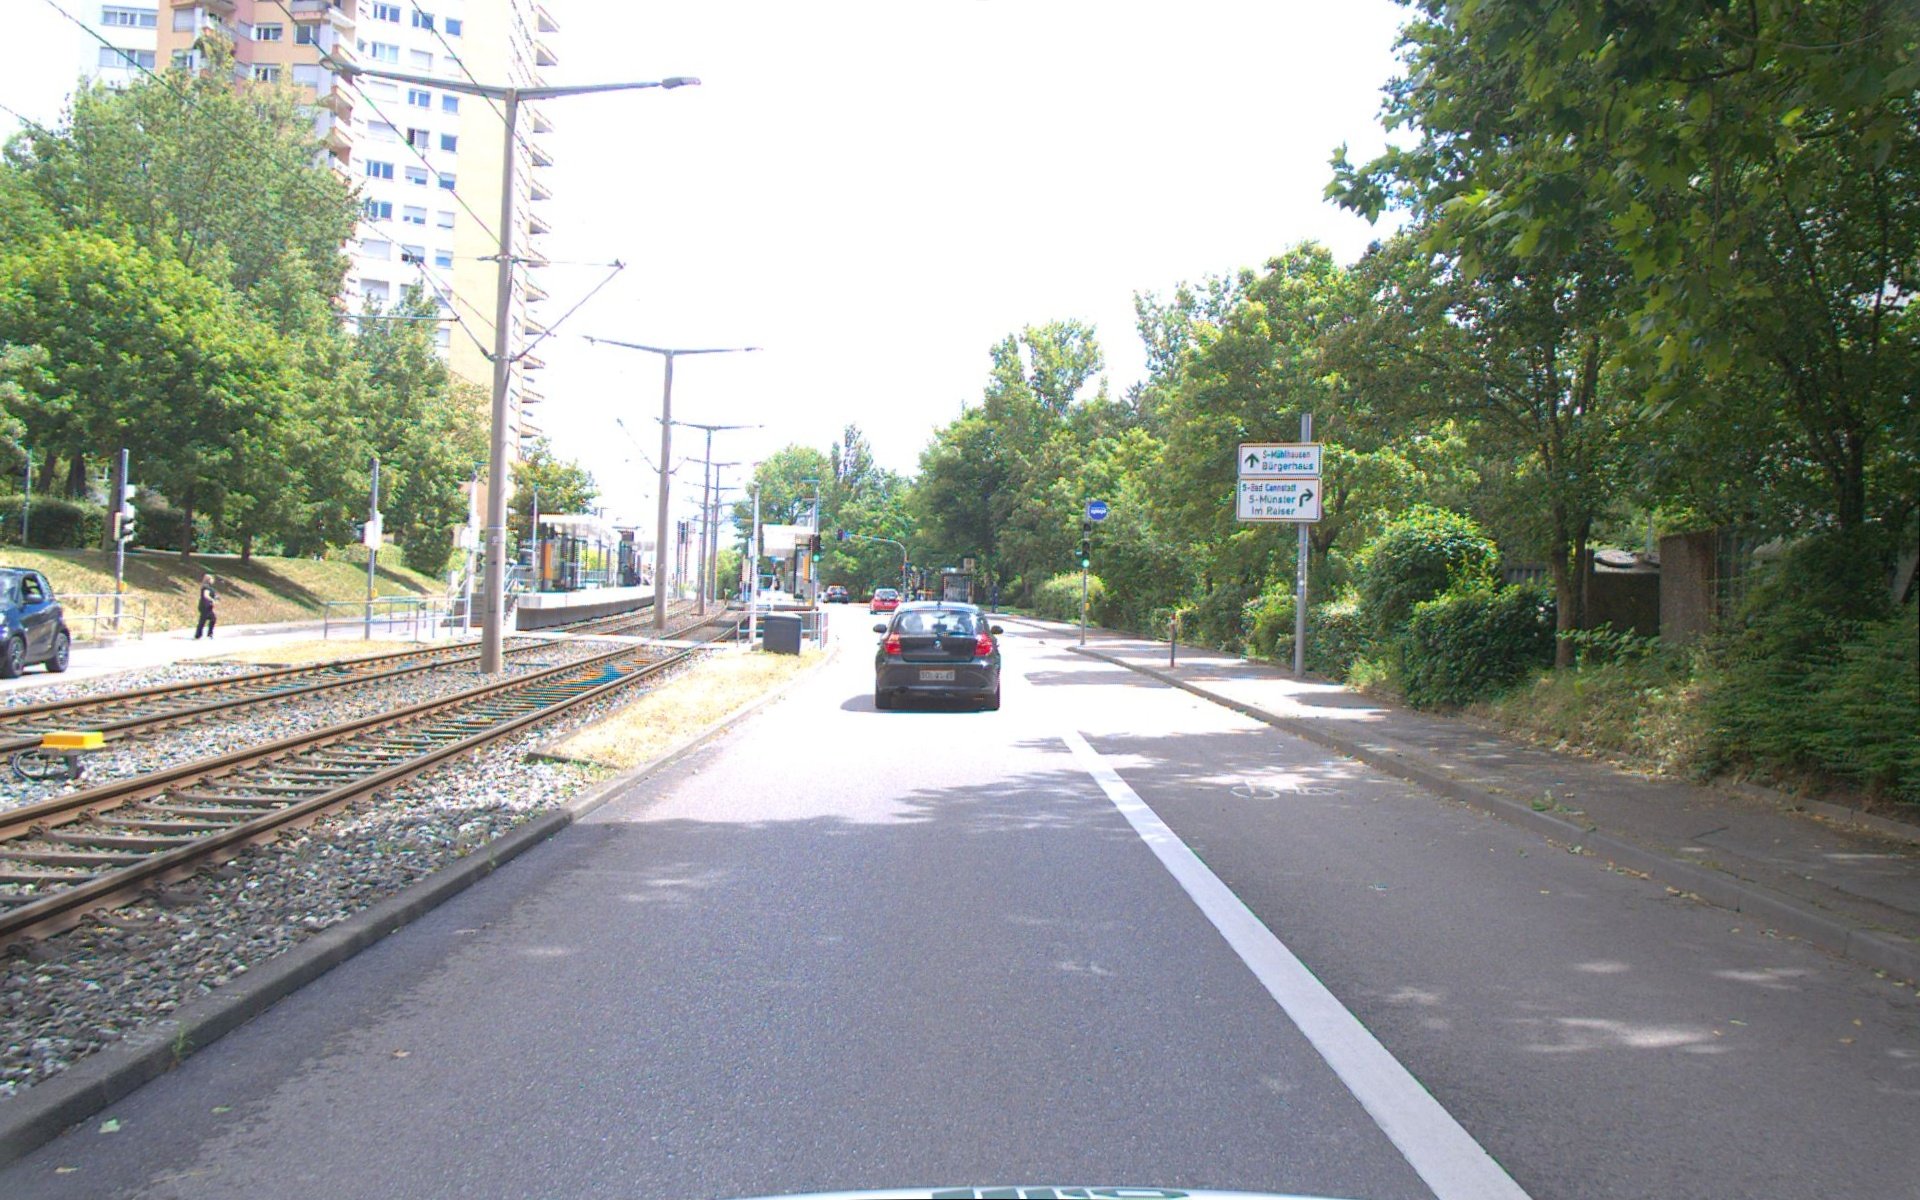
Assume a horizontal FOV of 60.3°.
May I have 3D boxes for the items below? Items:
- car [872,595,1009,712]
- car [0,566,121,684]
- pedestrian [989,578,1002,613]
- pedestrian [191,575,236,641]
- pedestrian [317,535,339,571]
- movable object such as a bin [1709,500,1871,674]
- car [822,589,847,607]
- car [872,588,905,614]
[{"bbox_3d":[-0.354,0.682,23.252,1.746,1.485,3.918,0,0,-3],"label":"car"},{"bbox_3d":[-13.859,0.316,24.060,1.682,1.591,3.693,1,0,-5],"label":"car"},{"bbox_3d":[2.085,-0.256,98.108,0.725,2.049,0.681,1,0,-1],"label":"pedestrian"},{"bbox_3d":[-17.844,0.194,39.514,0.705,1.561,0.765,1,0,44],"label":"pedestrian"},{"bbox_3d":[-27.721,-2.048,72.507,0.620,1.561,0.635,1,0,16],"label":"pedestrian"},{"bbox_3d":[7.545,-0.119,15.096,0.781,1.504,1.302,1,0,-1],"label":"movable object such as a bin"},{"bbox_3d":[-10.489,-0.198,138.045,1.873,1.485,3.996,1,0,-7],"label":"car"},{"bbox_3d":[-4.176,0.040,96.462,1.746,1.485,3.917,1,0,-5],"label":"car"}]
